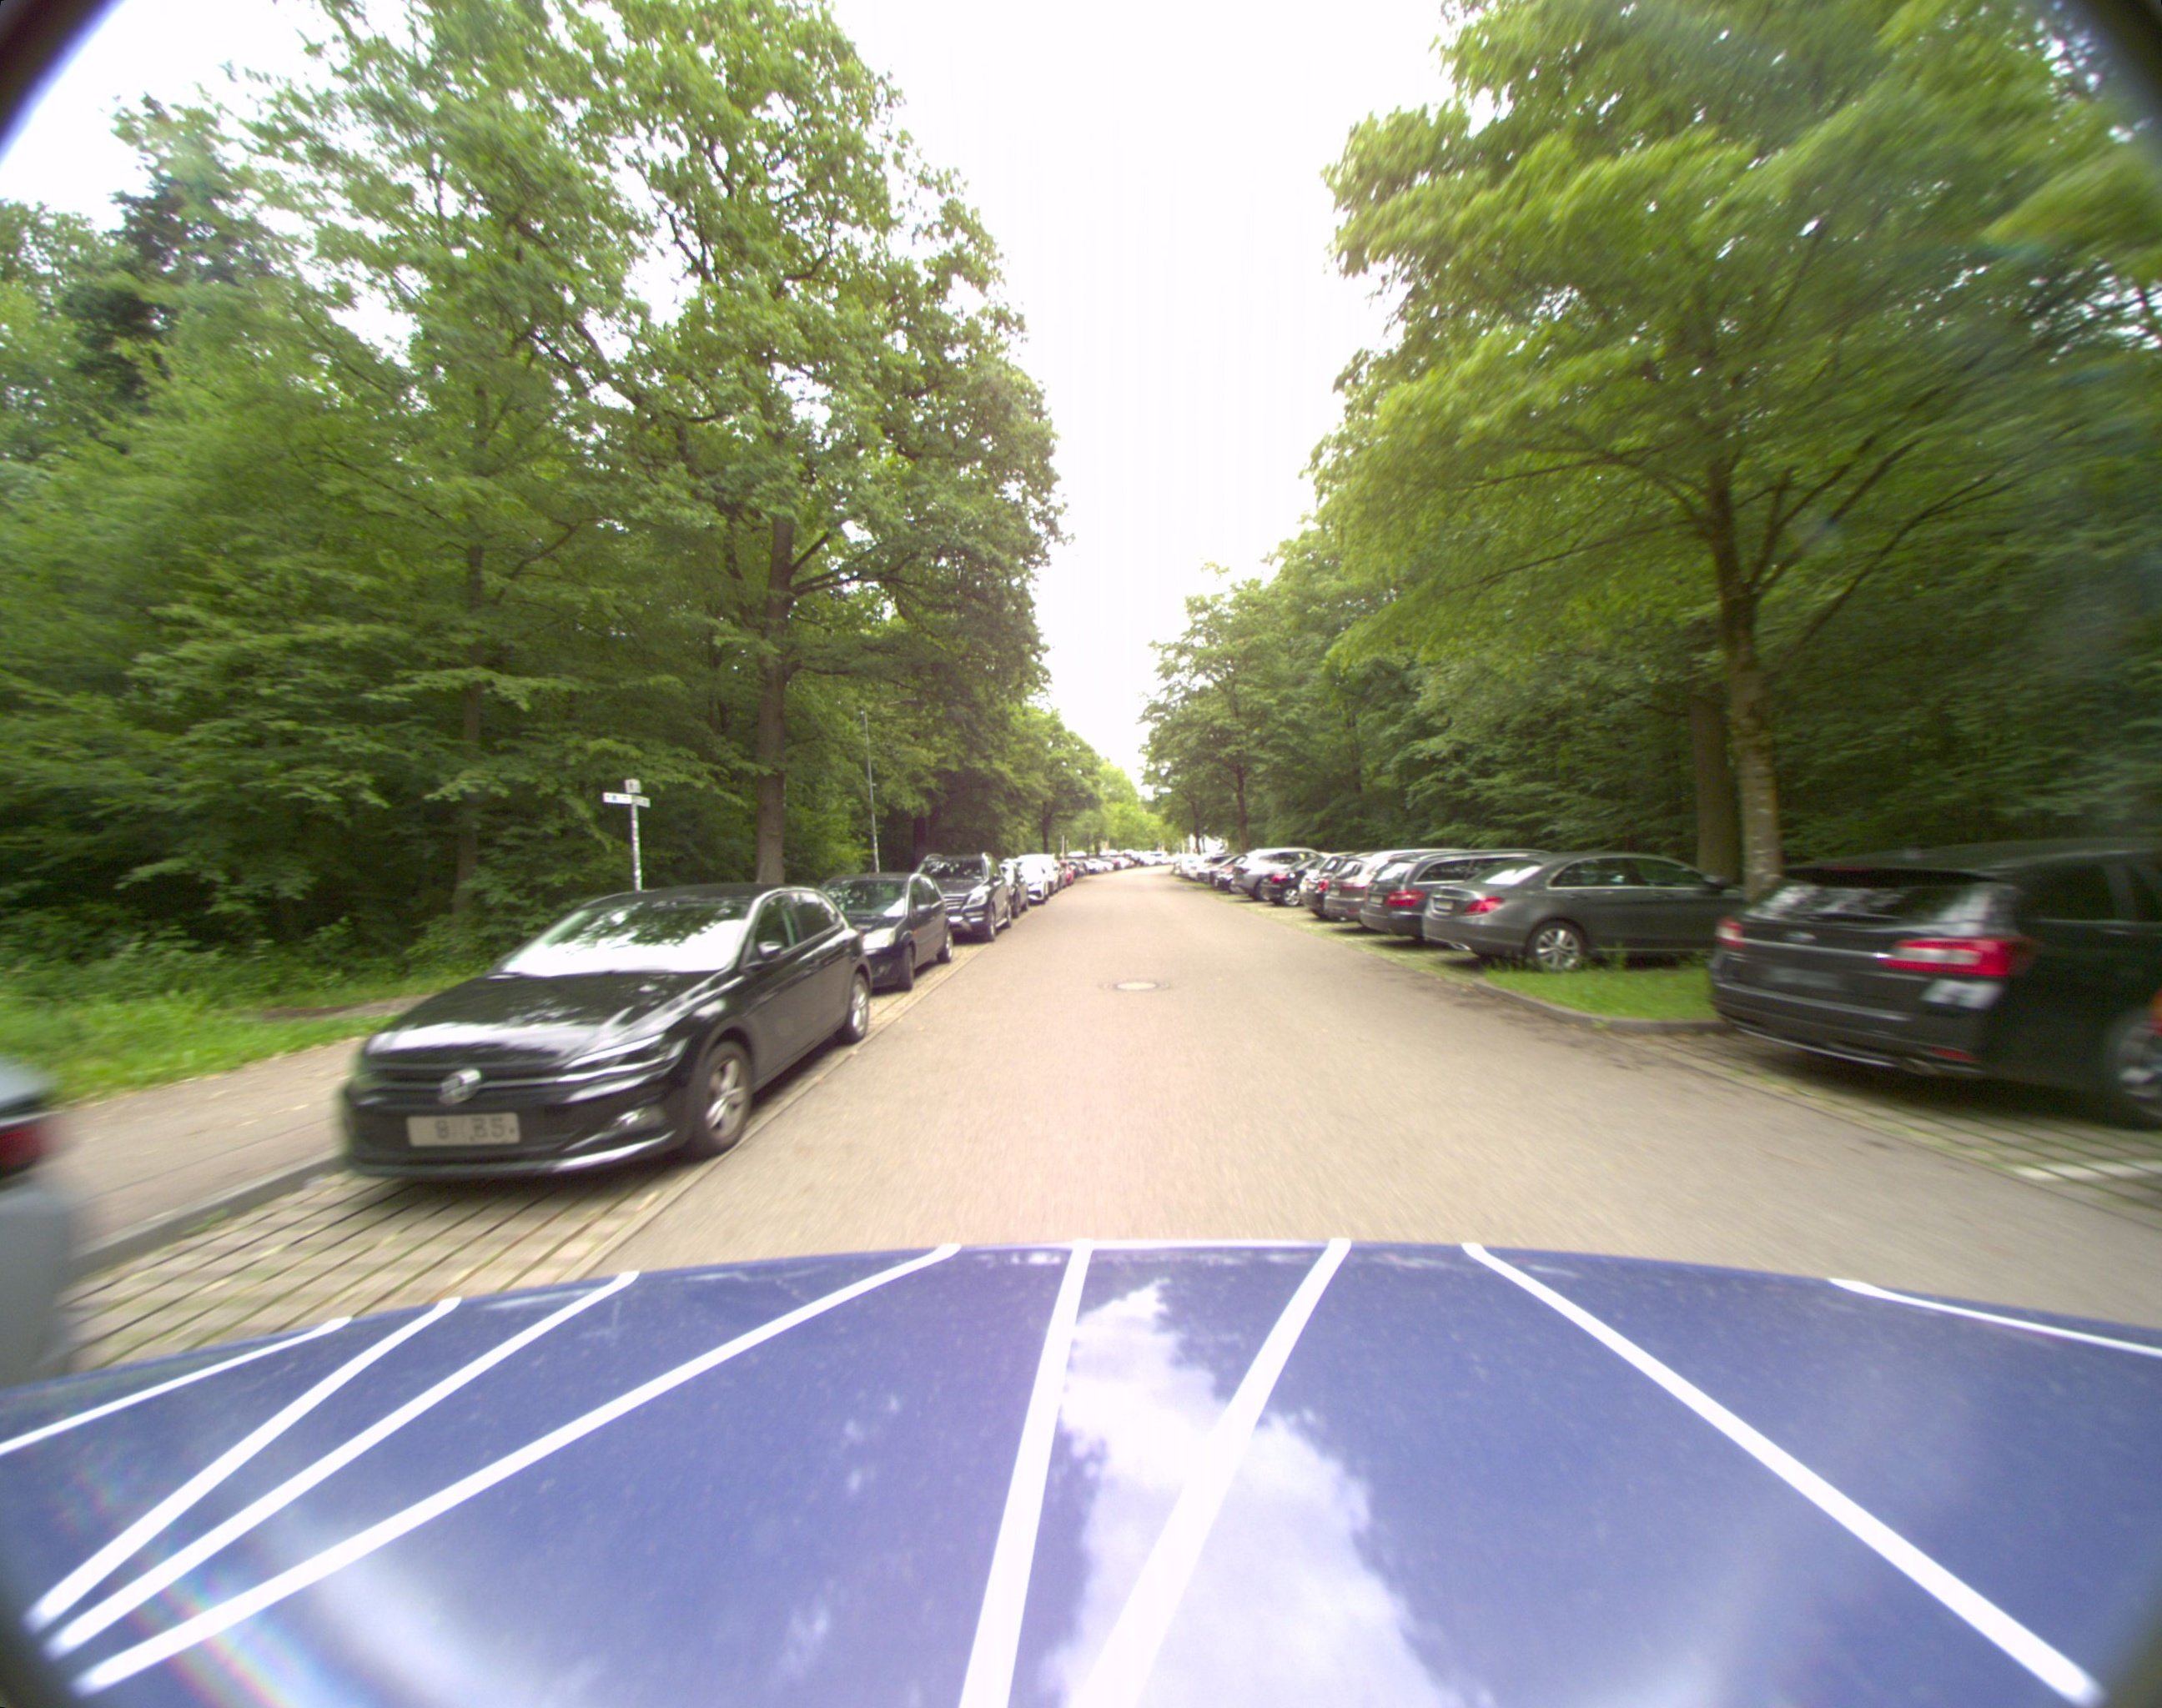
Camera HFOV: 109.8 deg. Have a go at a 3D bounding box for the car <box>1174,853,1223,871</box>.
[{"bbox_3d":[10.338,0.697,66.541,3.992,1.412,1.783,-2,1,17],"label":"car"}]

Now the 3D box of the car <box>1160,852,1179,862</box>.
[{"bbox_3d":[13.262,0.408,113.720,1.770,1.308,3.896,-2,0,22],"label":"car"}]

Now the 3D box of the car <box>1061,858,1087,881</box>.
[{"bbox_3d":[-0.458,1.096,54.247,1.502,1.470,3.667,-2,0,3],"label":"car"}]

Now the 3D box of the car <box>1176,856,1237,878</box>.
[{"bbox_3d":[8.894,0.914,54.161,3.998,1.469,1.713,-1,0,-3],"label":"car"}]

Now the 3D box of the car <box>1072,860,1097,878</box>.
[{"bbox_3d":[0.305,1.290,66.742,1.501,1.470,3.668,-2,0,10],"label":"car"}]

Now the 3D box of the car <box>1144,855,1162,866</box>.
[{"bbox_3d":[10.031,0.883,105.392,1.770,1.308,3.894,-2,0,16],"label":"car"}]

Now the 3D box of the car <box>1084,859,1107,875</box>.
[{"bbox_3d":[1.379,1.224,70.952,1.501,1.331,3.435,-3,0,10],"label":"car"}]

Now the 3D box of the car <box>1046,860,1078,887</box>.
[{"bbox_3d":[-1.093,1.108,44.700,1.502,1.470,3.667,-2,0,3],"label":"car"}]

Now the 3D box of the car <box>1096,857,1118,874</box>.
[{"bbox_3d":[2.580,1.123,75.437,1.501,1.470,3.669,-2,0,12],"label":"car"}]

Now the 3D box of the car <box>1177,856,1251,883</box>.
[{"bbox_3d":[7.785,0.889,44.587,3.998,1.469,1.713,-1,0,-3],"label":"car"}]

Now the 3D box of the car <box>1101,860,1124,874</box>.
[{"bbox_3d":[3.368,1.365,81.020,1.771,1.308,3.893,-2,0,12],"label":"car"}]

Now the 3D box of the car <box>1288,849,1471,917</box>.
[{"bbox_3d":[7.648,0.710,19.666,3.998,1.508,1.713,-3,0,-5],"label":"car"}]

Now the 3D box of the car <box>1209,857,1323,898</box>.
[{"bbox_3d":[7.154,0.883,29.583,3.998,1.480,1.713,-1,0,-3],"label":"car"}]

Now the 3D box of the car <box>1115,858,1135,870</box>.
[{"bbox_3d":[5.306,1.207,90.742,1.771,1.308,3.894,-2,0,13],"label":"car"}]

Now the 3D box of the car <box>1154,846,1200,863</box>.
[{"bbox_3d":[8.949,0.057,70.616,3.992,1.412,1.783,-2,1,17],"label":"car"}]

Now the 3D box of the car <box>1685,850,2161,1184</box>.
[{"bbox_3d":[6.292,0.760,4.544,3.998,1.433,1.741,-3,0,-2],"label":"car"}]

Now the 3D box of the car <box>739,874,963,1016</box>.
[{"bbox_3d":[-2.925,1.085,10.663,1.750,1.418,4.189,-2,0,1],"label":"car"}]

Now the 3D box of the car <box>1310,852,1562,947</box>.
[{"bbox_3d":[6.688,0.810,14.547,3.998,1.508,1.713,-3,0,-5],"label":"car"}]

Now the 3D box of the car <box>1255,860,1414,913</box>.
[{"bbox_3d":[7.279,0.910,22.027,3.999,1.363,1.713,-1,0,-5],"label":"car"}]

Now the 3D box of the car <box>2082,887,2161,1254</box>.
[{"bbox_3d":[6.149,0.799,2.214,3.996,1.413,1.742,-1,0,3],"label":"car"}]

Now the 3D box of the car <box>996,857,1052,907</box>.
[{"bbox_3d":[-1.971,0.944,27.396,1.580,1.610,3.962,-2,0,1],"label":"car"}]

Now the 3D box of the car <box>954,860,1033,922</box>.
[{"bbox_3d":[-2.423,0.989,21.958,1.705,1.529,3.962,-2,0,1],"label":"car"}]

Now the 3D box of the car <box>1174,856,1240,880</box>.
[{"bbox_3d":[8.187,0.870,49.564,3.998,1.469,1.713,-1,0,-3],"label":"car"}]

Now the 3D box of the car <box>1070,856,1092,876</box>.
[{"bbox_3d":[0.015,0.941,60.840,1.502,1.470,3.667,-2,0,3],"label":"car"}]

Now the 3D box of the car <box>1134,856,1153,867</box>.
[{"bbox_3d":[8.265,1.010,100.385,1.770,1.308,3.894,-2,0,16],"label":"car"}]

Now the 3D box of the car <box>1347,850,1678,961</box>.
[{"bbox_3d":[6.688,0.764,12.113,4.222,1.528,1.818,-1,0,0],"label":"car"}]

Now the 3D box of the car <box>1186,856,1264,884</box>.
[{"bbox_3d":[7.988,0.866,42.310,3.998,1.469,1.713,-1,0,-3],"label":"car"}]

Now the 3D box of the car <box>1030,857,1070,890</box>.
[{"bbox_3d":[-1.549,0.954,39.433,1.642,1.561,3.667,-2,0,3],"label":"car"}]

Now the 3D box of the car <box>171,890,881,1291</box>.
[{"bbox_3d":[-2.818,1.073,5.143,1.824,1.433,4.000,-1,0,0],"label":"car"}]

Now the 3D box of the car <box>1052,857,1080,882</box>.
[{"bbox_3d":[-0.928,0.959,48.996,1.502,1.470,3.667,-2,0,3],"label":"car"}]

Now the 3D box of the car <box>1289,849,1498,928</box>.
[{"bbox_3d":[7.005,0.736,17.258,3.998,1.508,1.713,-3,0,-5],"label":"car"}]

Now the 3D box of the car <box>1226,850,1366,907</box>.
[{"bbox_3d":[6.896,0.759,24.614,3.998,1.717,1.713,-1,0,-3],"label":"car"}]

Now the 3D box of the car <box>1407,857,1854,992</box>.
[{"bbox_3d":[6.600,0.823,9.558,4.220,1.447,1.818,-1,0,4],"label":"car"}]

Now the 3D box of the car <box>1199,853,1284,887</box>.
[{"bbox_3d":[8.293,0.806,39.450,3.998,1.661,1.713,-1,0,-3],"label":"car"}]

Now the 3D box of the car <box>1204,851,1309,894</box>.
[{"bbox_3d":[7.406,0.770,32.250,3.998,1.699,1.713,-1,0,-3],"label":"car"}]

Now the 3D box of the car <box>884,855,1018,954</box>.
[{"bbox_3d":[-2.534,0.923,15.965,1.910,1.713,4.485,-2,0,1],"label":"car"}]

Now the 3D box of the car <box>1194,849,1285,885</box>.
[{"bbox_3d":[7.712,0.616,37.170,3.998,1.661,1.713,-1,0,-3],"label":"car"}]

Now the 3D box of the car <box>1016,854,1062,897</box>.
[{"bbox_3d":[-1.793,0.902,33.745,1.642,1.742,4.054,-2,0,1],"label":"car"}]

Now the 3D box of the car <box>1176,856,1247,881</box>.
[{"bbox_3d":[7.945,0.866,46.507,3.998,1.469,1.713,-1,0,-3],"label":"car"}]
